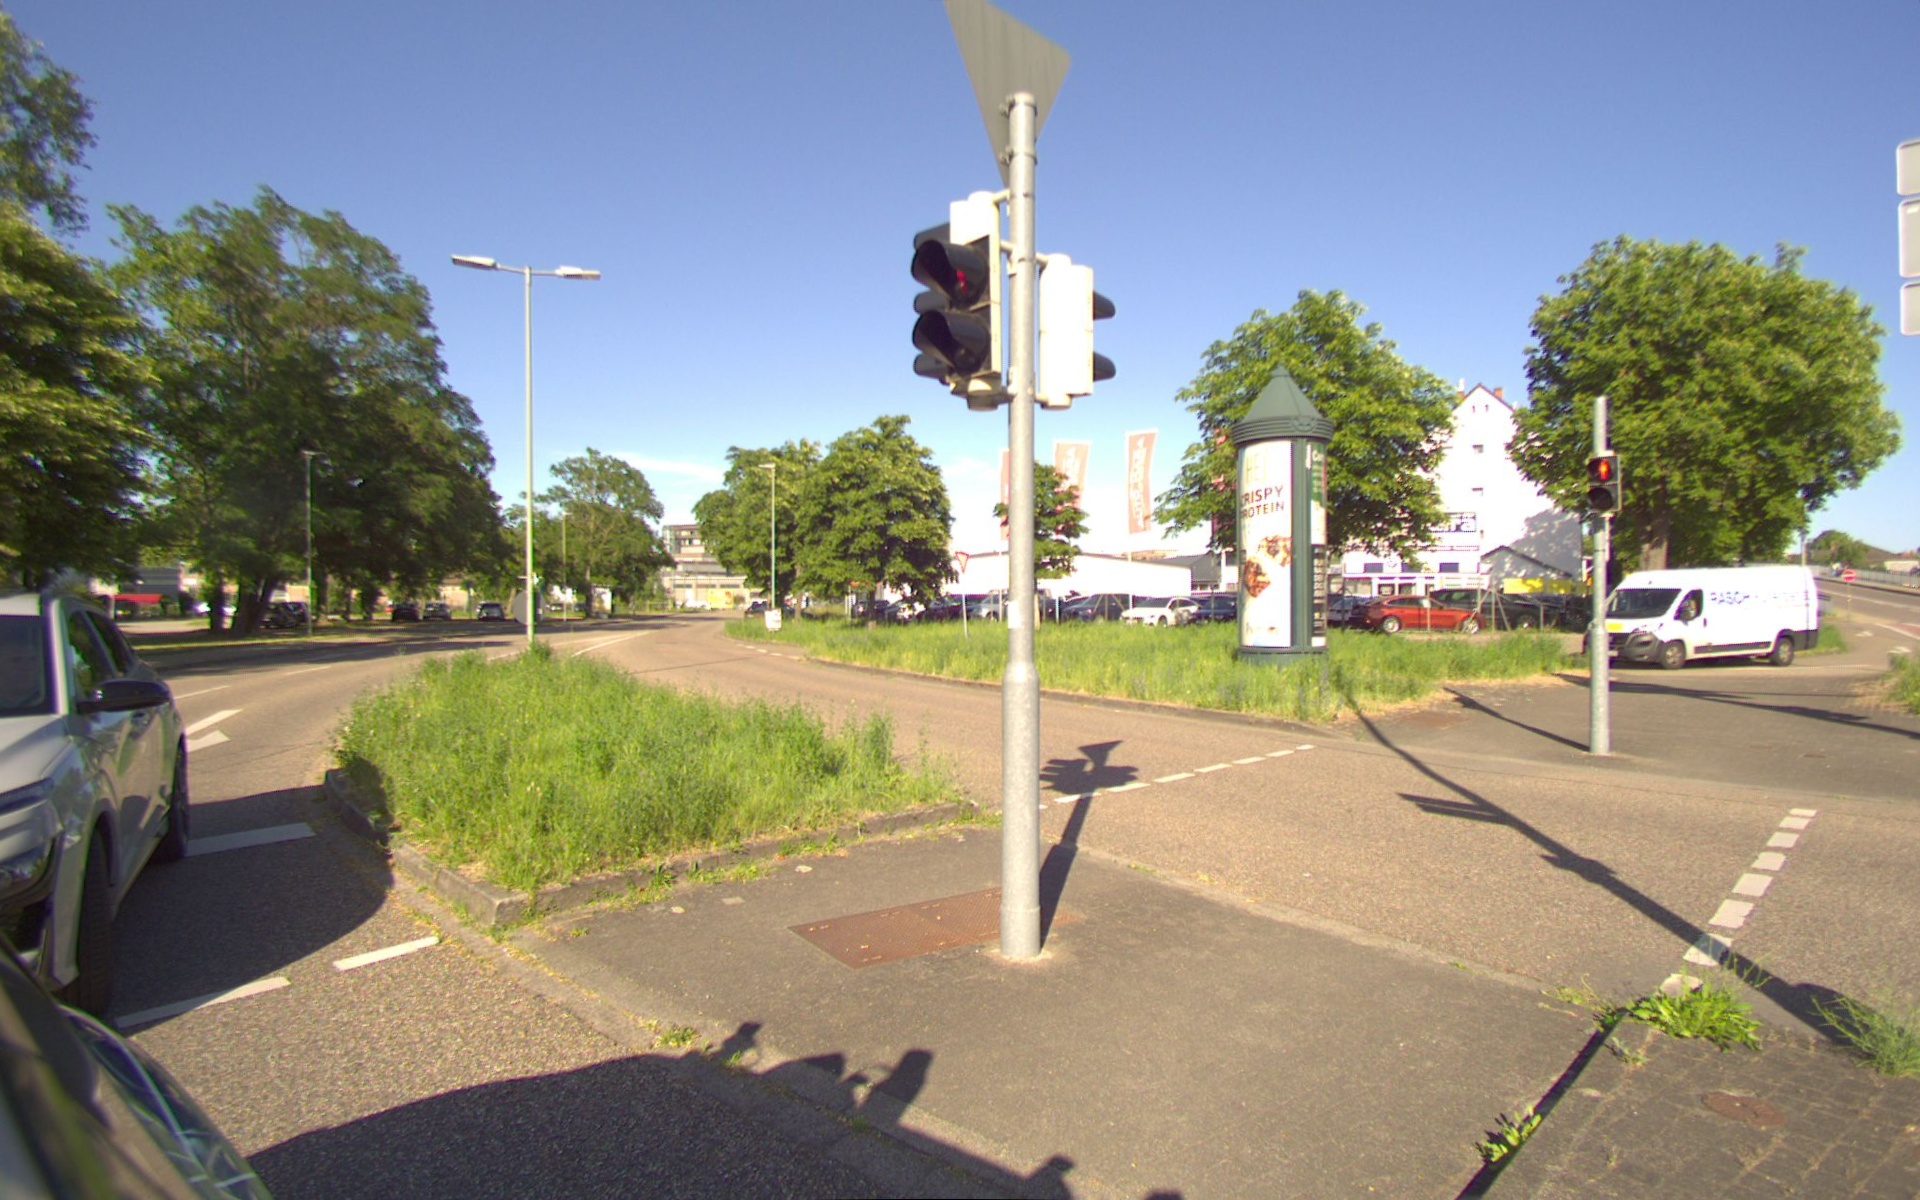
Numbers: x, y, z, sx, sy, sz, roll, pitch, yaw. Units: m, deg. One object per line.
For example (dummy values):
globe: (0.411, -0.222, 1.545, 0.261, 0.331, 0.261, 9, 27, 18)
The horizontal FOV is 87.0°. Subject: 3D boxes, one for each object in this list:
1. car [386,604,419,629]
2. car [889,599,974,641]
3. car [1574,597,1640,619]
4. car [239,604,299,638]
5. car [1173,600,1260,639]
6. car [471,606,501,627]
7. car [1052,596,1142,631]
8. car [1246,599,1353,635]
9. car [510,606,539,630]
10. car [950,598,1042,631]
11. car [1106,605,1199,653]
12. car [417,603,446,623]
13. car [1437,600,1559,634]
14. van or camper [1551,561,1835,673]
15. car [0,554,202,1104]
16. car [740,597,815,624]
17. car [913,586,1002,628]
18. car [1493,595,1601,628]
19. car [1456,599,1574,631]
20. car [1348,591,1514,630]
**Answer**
car: (-40.116, 1.177, 72.860, 1.708, 1.631, 4.013, 2, 0, -24)
car: (-1.465, 0.998, 52.233, 3.934, 2.029, 2.005, -1, 0, -35)
car: (47.230, 0.587, 73.947, 3.624, 1.521, 1.781, -1, 0, 6)
car: (-39.872, 1.178, 58.482, 1.975, 1.809, 4.013, -1, 0, -21)
car: (10.362, 0.752, 40.773, 1.745, 1.473, 3.944, -1, -1, 42)
car: (-35.463, 1.194, 75.829, 1.965, 1.461, 4.013, 2, 0, -24)
car: (5.989, 0.559, 43.906, 2.000, 1.452, 3.944, -1, -1, 42)
car: (14.692, 0.736, 43.877, 4.000, 1.517, 1.807, -1, -1, 43)
car: (-33.066, 1.364, 76.789, 1.965, 1.679, 4.013, 2, 0, -24)
car: (1.693, 0.658, 47.423, 3.932, 1.419, 1.844, -1, 0, -32)
car: (8.024, 1.168, 41.993, 2.000, 1.901, 3.944, -1, -1, 42)
car: (-41.307, 1.023, 79.159, 1.840, 1.451, 3.495, 2, 0, -24)
car: (20.992, 0.653, 39.672, 3.900, 1.250, 2.032, -1, 0, 18)
van or camper: (18.717, 0.390, 25.865, 6.497, 2.602, 2.614, -1, -1, -20)
car: (-4.585, 0.653, 4.387, 1.687, 1.658, 4.067, 1, 1, -31)
car: (-10.541, 0.593, 58.378, 3.930, 1.541, 1.935, 0, -1, -22)
car: (-0.107, 0.348, 49.965, 3.934, 2.029, 2.005, 0, -1, -35)
car: (29.589, 0.570, 51.146, 4.370, 1.587, 1.804, -1, 0, 16)
car: (22.841, 0.619, 41.811, 3.900, 1.250, 2.032, -1, 0, 18)
car: (17.186, 0.362, 37.177, 4.996, 1.320, 2.358, -1, 0, 5)
